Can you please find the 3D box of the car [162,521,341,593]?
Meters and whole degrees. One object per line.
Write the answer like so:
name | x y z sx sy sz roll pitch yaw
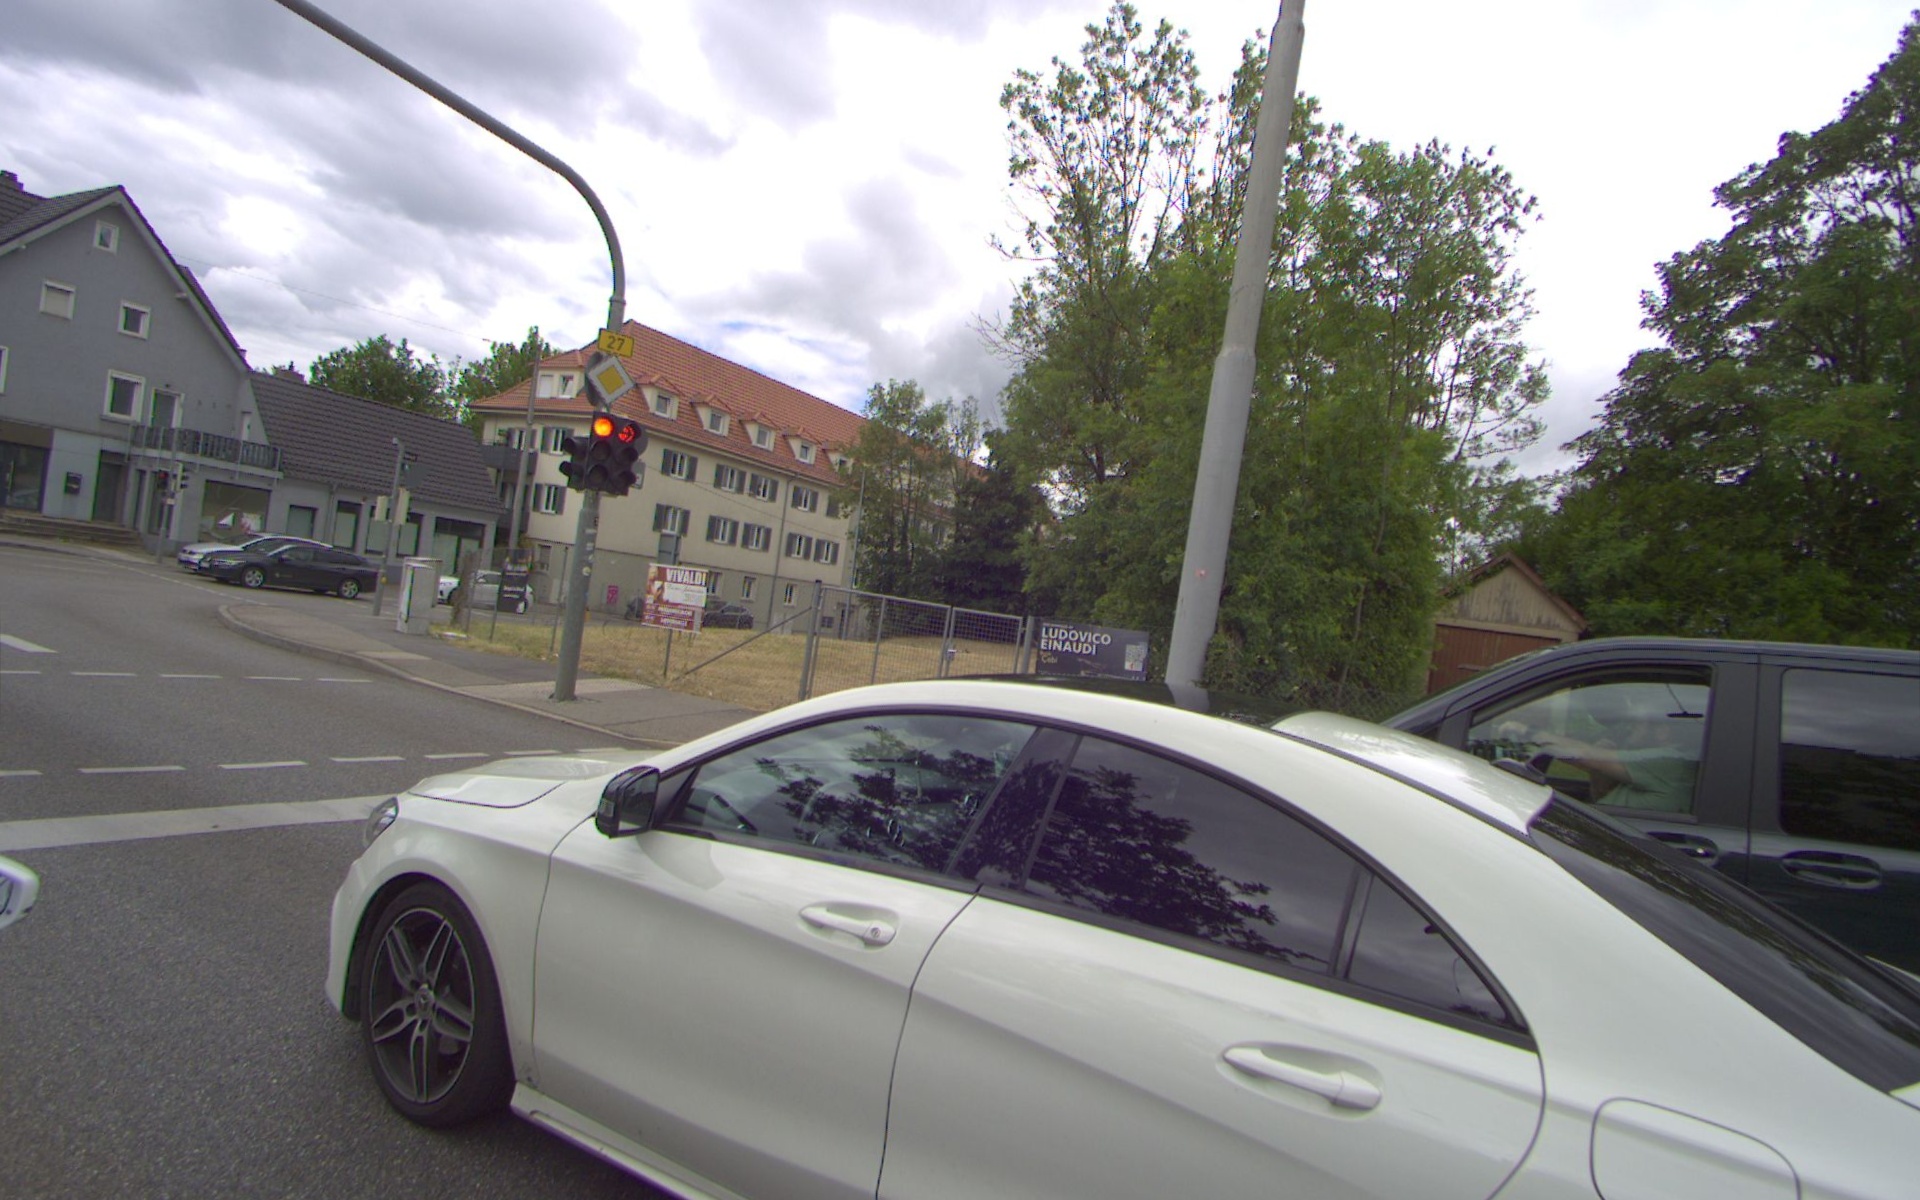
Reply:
car | -22.131 -1.297 31.621 1.796 1.557 4.115 7 -3 26

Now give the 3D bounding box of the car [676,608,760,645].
car | -12.626 1.403 52.653 1.839 1.393 3.996 7 -2 32

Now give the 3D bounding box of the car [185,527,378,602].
car | -19.847 -1.003 29.629 1.686 1.498 4.284 8 -1 30

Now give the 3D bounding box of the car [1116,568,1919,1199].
car | 3.258 1.115 4.066 4.631 1.860 1.953 7 -2 32

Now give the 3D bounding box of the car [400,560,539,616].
car | -18.619 -0.422 38.375 1.967 1.494 4.251 7 -2 32

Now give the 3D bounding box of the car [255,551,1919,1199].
car | 0.159 0.849 2.645 4.305 1.451 1.651 7 0 32

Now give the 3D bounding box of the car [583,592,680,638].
car | -15.521 0.740 47.664 1.839 1.554 3.996 7 -2 32
